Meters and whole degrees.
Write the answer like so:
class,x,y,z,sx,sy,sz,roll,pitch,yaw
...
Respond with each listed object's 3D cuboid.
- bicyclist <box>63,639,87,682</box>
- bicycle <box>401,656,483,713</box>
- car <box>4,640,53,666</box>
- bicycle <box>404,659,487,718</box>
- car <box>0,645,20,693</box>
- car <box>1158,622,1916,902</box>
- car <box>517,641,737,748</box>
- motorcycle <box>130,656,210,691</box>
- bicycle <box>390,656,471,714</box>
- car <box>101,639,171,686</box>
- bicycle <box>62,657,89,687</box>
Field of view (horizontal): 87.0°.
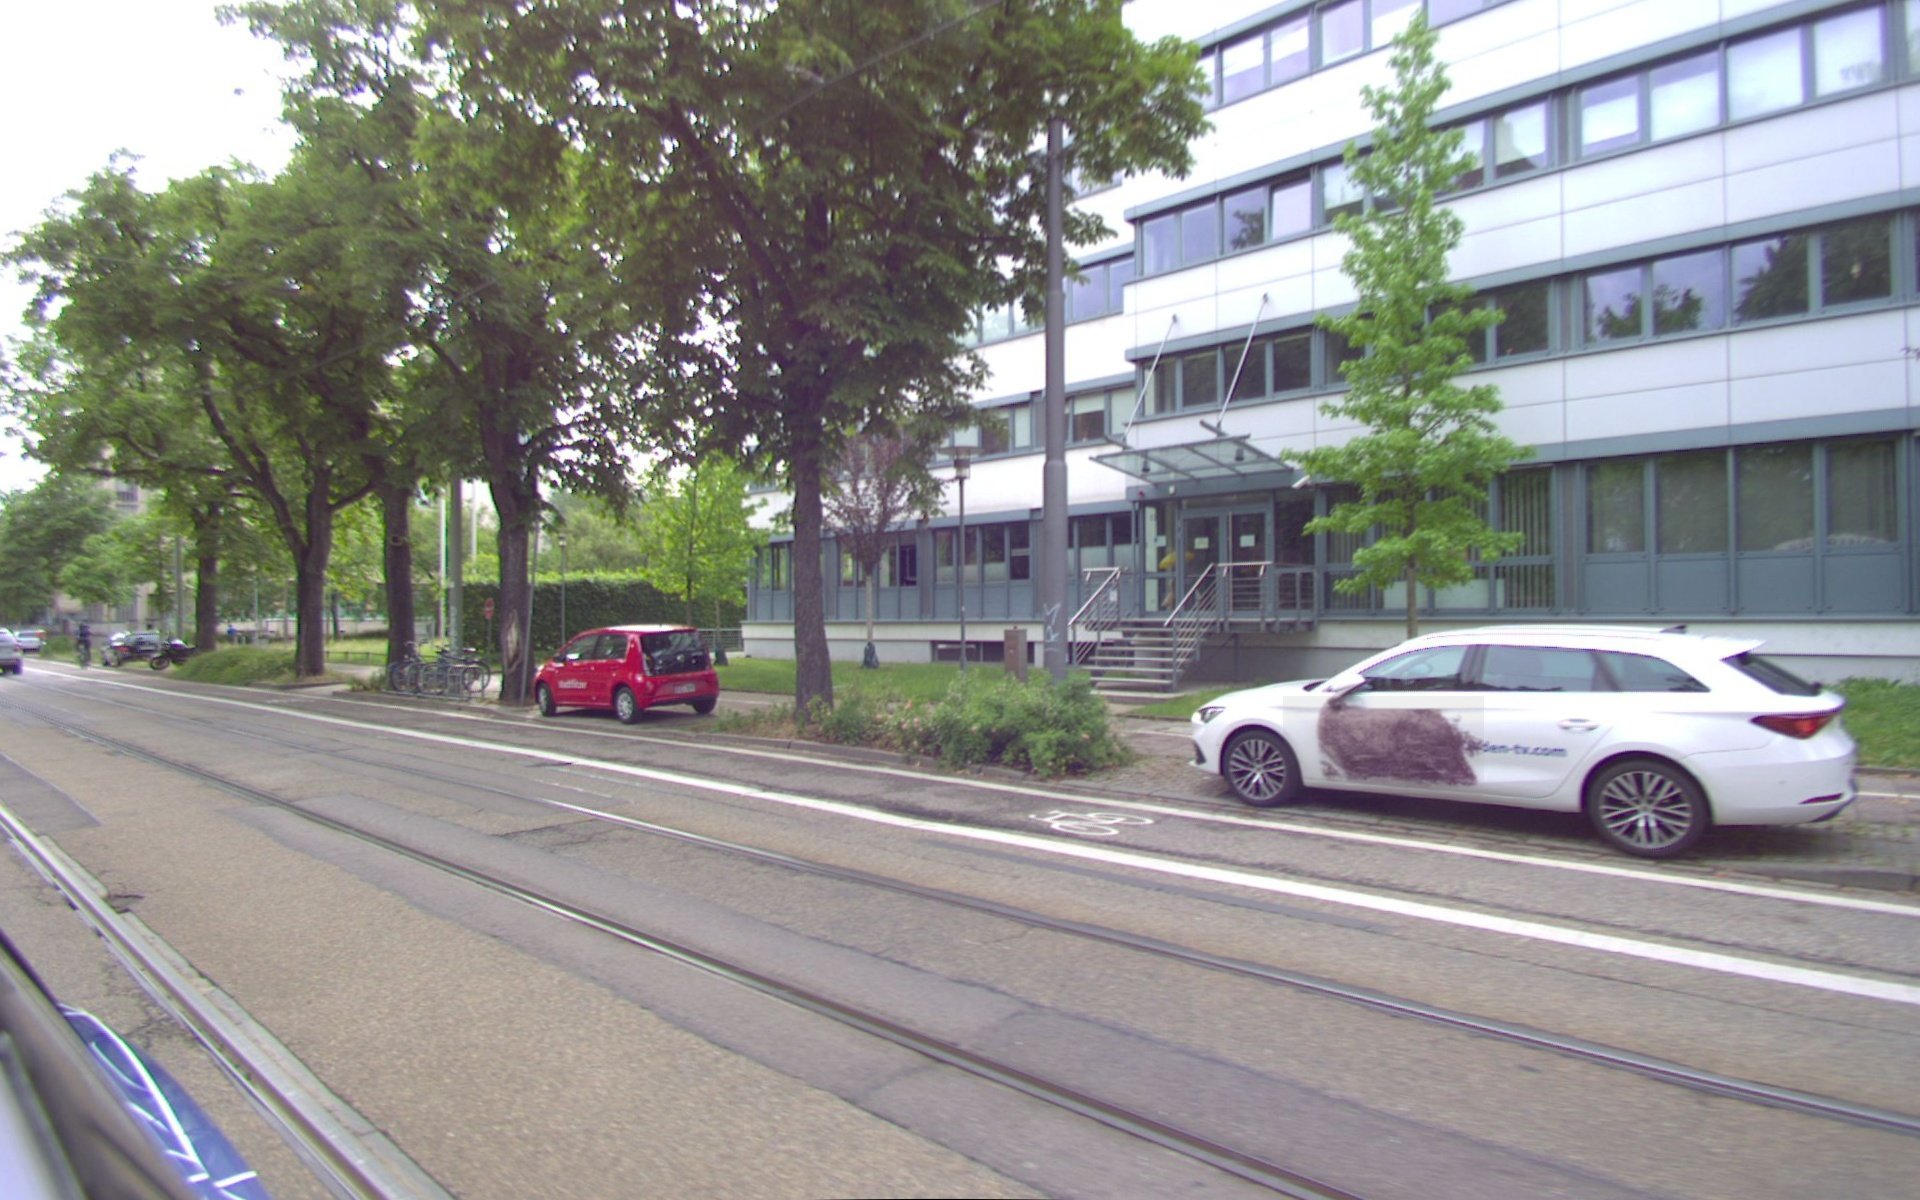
class,x,y,z,sx,sy,sz,roll,pitch,yaw
bicyclist,-33.444,2.265,38.248,0.628,1.549,0.955,-1,0,-45
bicycle,-11.244,1.812,22.006,0.617,1.149,1.454,-1,-2,40
car,-57.686,3.268,62.663,3.949,1.444,1.825,-1,0,41
bicycle,-10.703,1.816,21.097,0.614,1.100,1.460,-1,0,28
car,-32.680,2.265,33.535,4.257,1.510,1.723,-2,-2,40
car,4.123,0.983,7.919,4.751,1.505,1.862,-2,-1,41
car,-5.560,1.466,16.717,3.752,1.458,1.613,-1,1,38
motorcycle,-27.711,2.579,35.507,2.100,1.111,0.776,-1,0,-8
bicycle,-11.651,1.859,22.305,0.617,1.149,1.454,-1,0,40
car,-33.923,2.511,41.616,4.001,1.722,1.791,-1,0,44
bicycle,-33.436,2.709,38.247,0.628,1.058,1.994,-1,0,-45
